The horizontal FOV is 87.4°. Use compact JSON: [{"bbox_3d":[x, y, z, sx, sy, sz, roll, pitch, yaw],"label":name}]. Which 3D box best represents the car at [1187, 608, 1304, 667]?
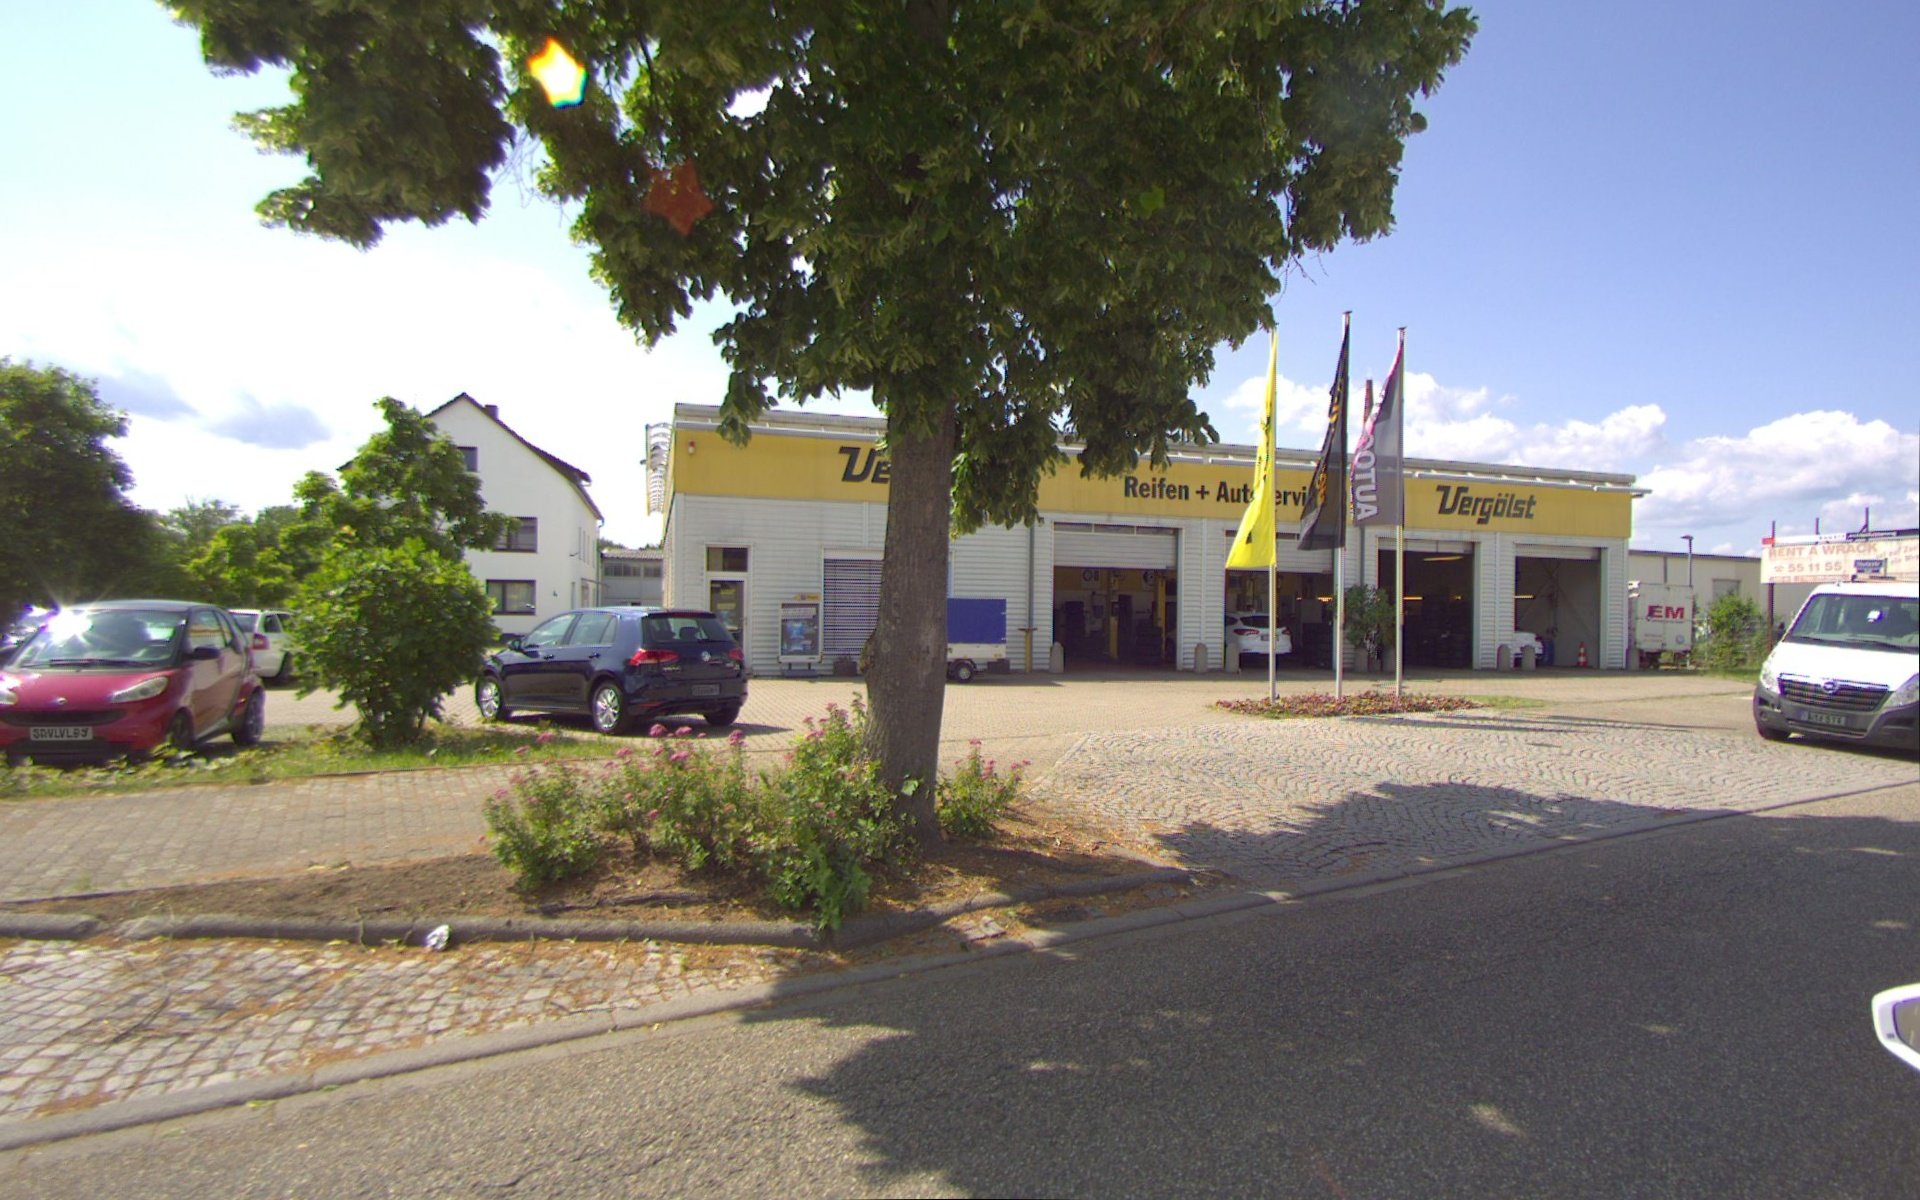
[{"bbox_3d":[7.768,0.984,27.710,1.951,1.483,3.999,1,-1,-2],"label":"car"}]

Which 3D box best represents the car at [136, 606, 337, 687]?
[{"bbox_3d":[-13.893,0.840,19.592,1.895,1.409,3.987,1,-1,-16],"label":"car"}]

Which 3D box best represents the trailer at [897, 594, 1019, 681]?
[{"bbox_3d":[-0.061,0.750,20.285,2.169,1.671,1.370,1,0,-16],"label":"trailer"}]

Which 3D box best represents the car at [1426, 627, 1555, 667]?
[{"bbox_3d":[16.125,1.406,30.732,1.515,1.051,3.637,1,-1,-13],"label":"car"}]

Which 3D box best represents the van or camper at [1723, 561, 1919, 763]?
[{"bbox_3d":[14.517,0.824,14.864,7.600,2.445,2.165,1,0,-28],"label":"van or camper"}]

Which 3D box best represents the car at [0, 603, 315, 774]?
[{"bbox_3d":[-8.293,0.768,10.449,1.703,1.441,3.834,1,-1,-18],"label":"car"}]

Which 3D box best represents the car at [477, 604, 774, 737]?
[{"bbox_3d":[-4.237,0.793,12.503,3.745,1.396,1.870,-1,-2,41],"label":"car"}]
